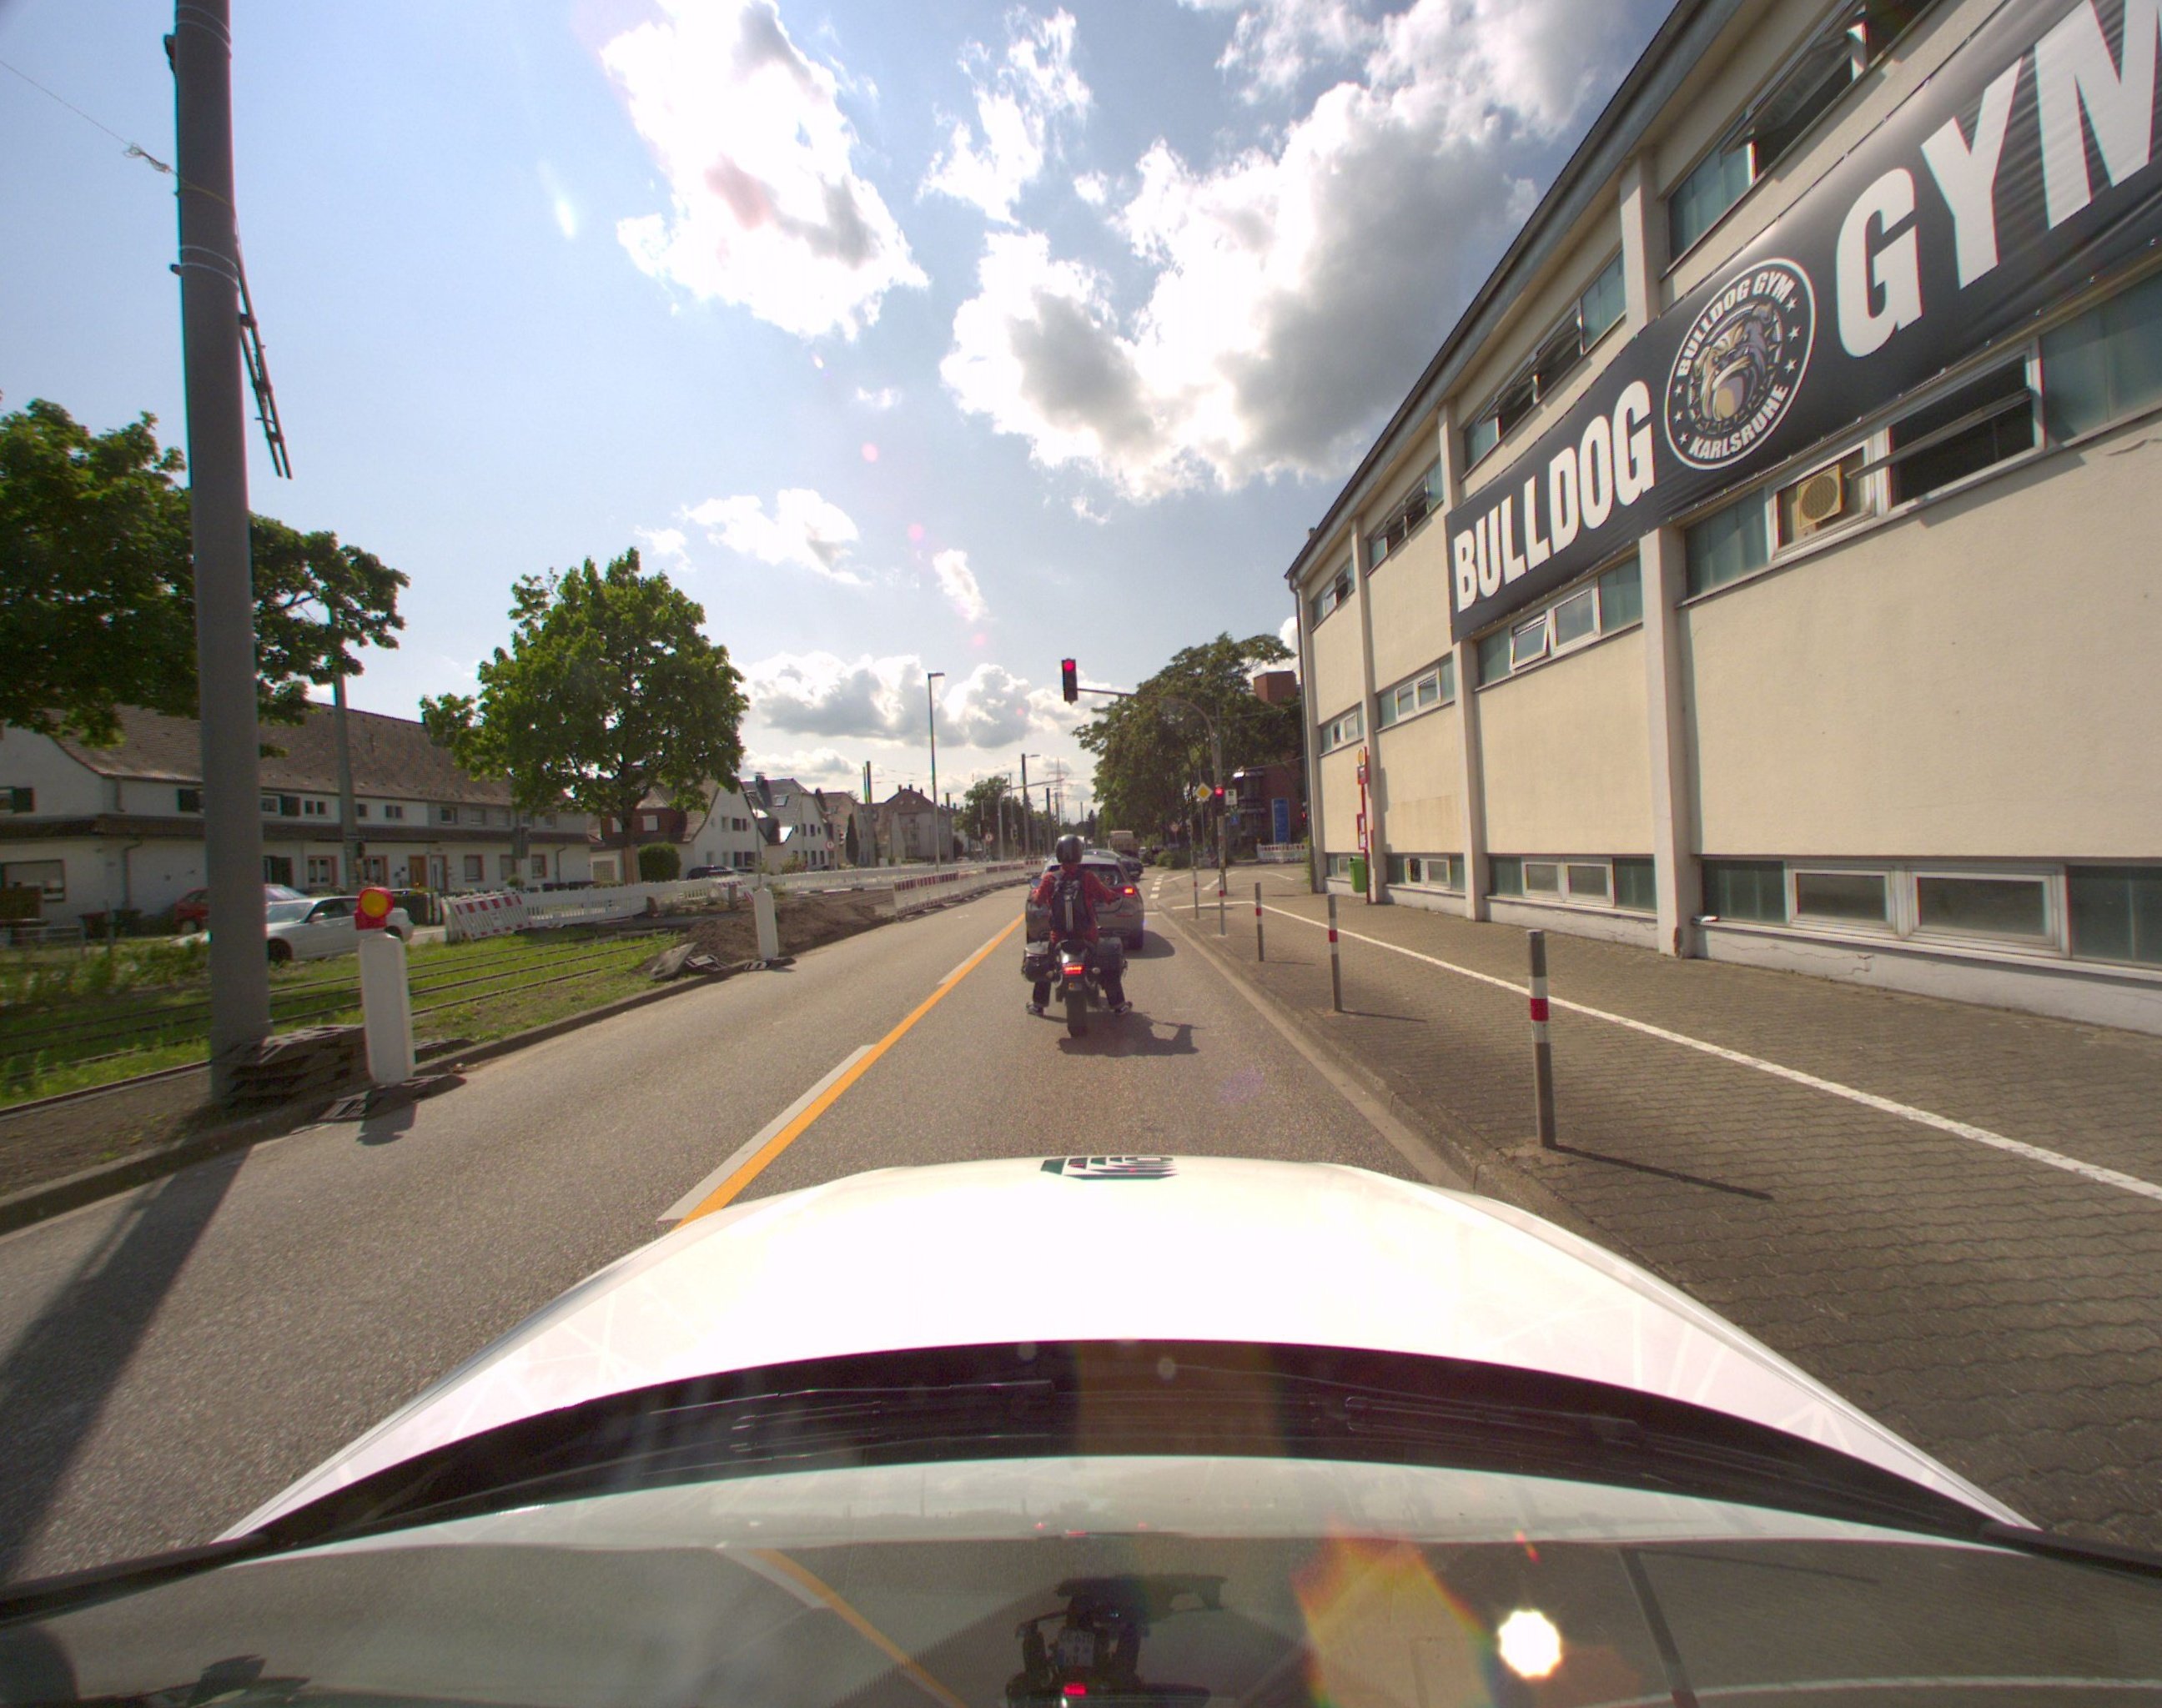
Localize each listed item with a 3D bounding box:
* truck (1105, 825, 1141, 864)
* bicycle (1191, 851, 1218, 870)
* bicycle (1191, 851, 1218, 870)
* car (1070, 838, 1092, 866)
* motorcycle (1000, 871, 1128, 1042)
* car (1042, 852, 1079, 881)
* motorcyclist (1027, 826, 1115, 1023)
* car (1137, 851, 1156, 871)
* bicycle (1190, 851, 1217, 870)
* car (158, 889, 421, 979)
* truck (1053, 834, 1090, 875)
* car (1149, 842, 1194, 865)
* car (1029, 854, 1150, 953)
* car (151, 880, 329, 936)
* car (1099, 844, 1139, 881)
[{"bbox_3d":[3.764,-0.751,71.977,2.954,3.173,7.772,-1,0,4],"label":"truck"},{"bbox_3d":[7.905,0.407,52.221,1.699,1.172,0.438,-1,-1,6],"label":"bicycle"},{"bbox_3d":[7.979,0.410,52.776,1.699,1.172,0.438,-1,-1,6],"label":"bicycle"},{"bbox_3d":[0.000,-0.168,64.245,1.583,2.143,3.628,-1,0,2],"label":"car"},{"bbox_3d":[-0.099,0.799,7.344,0.939,1.200,2.473,-1,0,1],"label":"motorcycle"},{"bbox_3d":[-1.081,0.658,45.090,1.738,1.437,4.084,-4,-1,1],"label":"car"},{"bbox_3d":[-0.076,0.581,7.020,0.696,1.604,0.692,-1,-1,1],"label":"motorcyclist"},{"bbox_3d":[6.983,0.718,87.163,1.751,2.014,4.001,-1,0,2],"label":"car"},{"bbox_3d":[8.018,0.413,53.306,1.699,1.172,0.438,-1,-1,6],"label":"bicycle"},{"bbox_3d":[-16.276,1.569,17.113,1.538,1.376,4.245,-3,0,-4],"label":"car"},{"bbox_3d":[-0.567,-0.031,55.036,2.085,2.476,5.199,-4,1,2],"label":"truck"},{"bbox_3d":[8.040,-0.070,72.260,4.023,1.926,1.781,-1,-1,-44],"label":"car"},{"bbox_3d":[0.013,0.704,13.732,1.727,1.403,4.081,-1,0,-3],"label":"car"},{"bbox_3d":[-27.745,1.772,26.957,3.973,1.509,1.726,-3,0,-1],"label":"car"},{"bbox_3d":[1.711,0.343,36.544,1.638,1.498,4.272,-2,1,2],"label":"car"}]
